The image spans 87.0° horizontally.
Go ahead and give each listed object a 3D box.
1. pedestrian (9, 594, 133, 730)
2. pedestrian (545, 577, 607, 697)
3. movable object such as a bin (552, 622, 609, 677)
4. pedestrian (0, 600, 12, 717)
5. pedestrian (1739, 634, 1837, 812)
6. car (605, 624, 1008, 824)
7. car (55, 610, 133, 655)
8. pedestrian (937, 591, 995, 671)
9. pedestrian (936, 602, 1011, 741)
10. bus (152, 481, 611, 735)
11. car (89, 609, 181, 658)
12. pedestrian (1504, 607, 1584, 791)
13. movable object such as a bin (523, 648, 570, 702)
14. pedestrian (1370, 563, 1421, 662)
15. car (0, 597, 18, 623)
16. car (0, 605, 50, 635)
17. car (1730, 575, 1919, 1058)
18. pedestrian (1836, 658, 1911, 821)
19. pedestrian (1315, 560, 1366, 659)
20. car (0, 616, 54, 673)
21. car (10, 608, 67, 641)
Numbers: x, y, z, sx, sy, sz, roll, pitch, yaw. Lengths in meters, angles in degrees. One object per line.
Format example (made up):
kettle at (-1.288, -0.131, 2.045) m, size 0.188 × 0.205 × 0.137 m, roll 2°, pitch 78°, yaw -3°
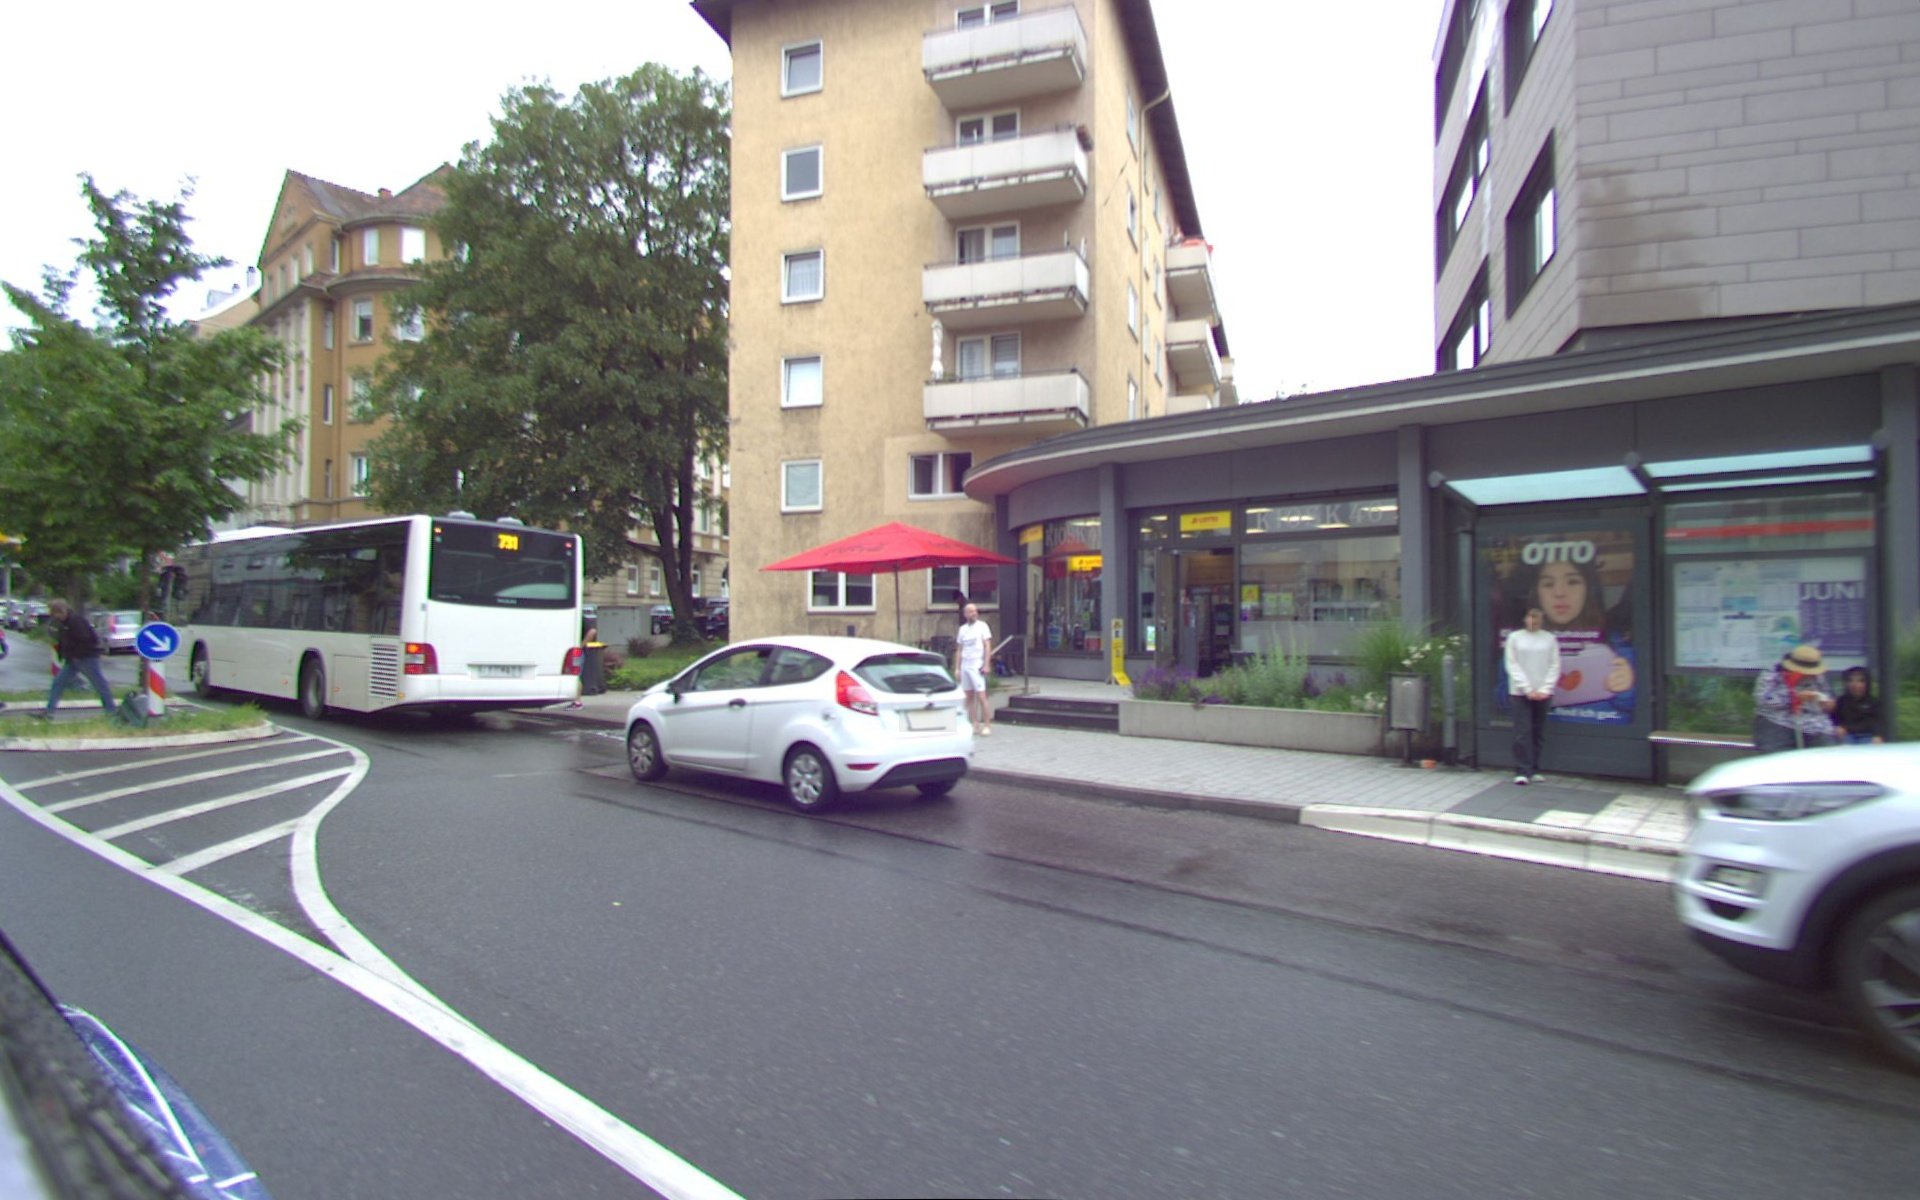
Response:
pedestrian at (-12.046, 0.826, 13.729) m, size 0.853 × 1.762 × 1.050 m, roll -1°, pitch -3°, yaw 37°
pedestrian at (-6.654, 0.622, 17.560) m, size 0.782 × 2.029 × 0.694 m, roll 0°, pitch -1°, yaw 38°
movable object such as a bin at (-7.698, 0.988, 20.551) m, size 0.806 × 1.066 × 0.738 m, roll 0°, pitch 0°, yaw 16°
pedestrian at (-14.277, 0.858, 14.576) m, size 0.779 × 1.678 × 0.700 m, roll -2°, pitch -1°, yaw -34°
pedestrian at (6.342, 0.907, 7.752) m, size 0.549 × 1.287 × 0.463 m, roll -1°, pitch -1°, yaw 41°
car at (-1.545, 1.009, 9.403) m, size 3.804 × 1.475 × 1.598 m, roll -2°, pitch -5°, yaw 41°
car at (-32.446, 1.168, 37.893) m, size 3.390 × 1.527 × 1.651 m, roll 0°, pitch 2°, yaw 40°
pedestrian at (0.142, 0.646, 21.404) m, size 0.934 × 1.624 × 1.146 m, roll -1°, pitch 0°, yaw 16°
pedestrian at (0.188, 0.904, 13.108) m, size 0.756 × 1.721 × 0.788 m, roll -1°, pitch 0°, yaw 16°
bus at (-10.810, 0.209, 17.874) m, size 11.950 × 3.271 × 2.777 m, roll 0°, pitch -5°, yaw 40°
car at (-28.842, 1.128, 35.334) m, size 3.673 × 1.527 × 1.791 m, roll 0°, pitch 2°, yaw 40°
pedestrian at (5.149, 0.846, 8.922) m, size 0.533 × 1.561 × 0.433 m, roll -1°, pitch -1°, yaw 41°
movable object such as a bin at (-8.613, 1.555, 21.068) m, size 0.731 × 1.066 × 0.579 m, roll 1°, pitch -1°, yaw -45°
pedestrian at (7.407, 0.217, 17.209) m, size 0.642 × 1.640 × 0.580 m, roll 0°, pitch -1°, yaw -43°
car at (-58.335, 0.587, 61.158) m, size 3.391 × 1.527 × 1.651 m, roll 0°, pitch 2°, yaw 41°
car at (-50.573, 1.048, 54.675) m, size 3.391 × 1.527 × 1.651 m, roll 0°, pitch 2°, yaw 41°
car at (4.951, 0.756, 3.023) m, size 4.123 × 1.585 × 1.875 m, roll 0°, pitch -3°, yaw 41°
pedestrian at (6.698, 1.000, 7.432) m, size 0.386 × 1.125 × 0.387 m, roll -1°, pitch -1°, yaw 41°
pedestrian at (6.443, 0.163, 17.139) m, size 0.642 × 1.640 × 0.580 m, roll 0°, pitch -1°, yaw -43°
car at (-25.180, 1.125, 24.879) m, size 1.799 × 1.431 × 3.970 m, roll -1°, pitch -1°, yaw 22°
car at (-46.500, 1.200, 51.066) m, size 3.694 × 1.527 × 1.651 m, roll 0°, pitch 2°, yaw 41°
